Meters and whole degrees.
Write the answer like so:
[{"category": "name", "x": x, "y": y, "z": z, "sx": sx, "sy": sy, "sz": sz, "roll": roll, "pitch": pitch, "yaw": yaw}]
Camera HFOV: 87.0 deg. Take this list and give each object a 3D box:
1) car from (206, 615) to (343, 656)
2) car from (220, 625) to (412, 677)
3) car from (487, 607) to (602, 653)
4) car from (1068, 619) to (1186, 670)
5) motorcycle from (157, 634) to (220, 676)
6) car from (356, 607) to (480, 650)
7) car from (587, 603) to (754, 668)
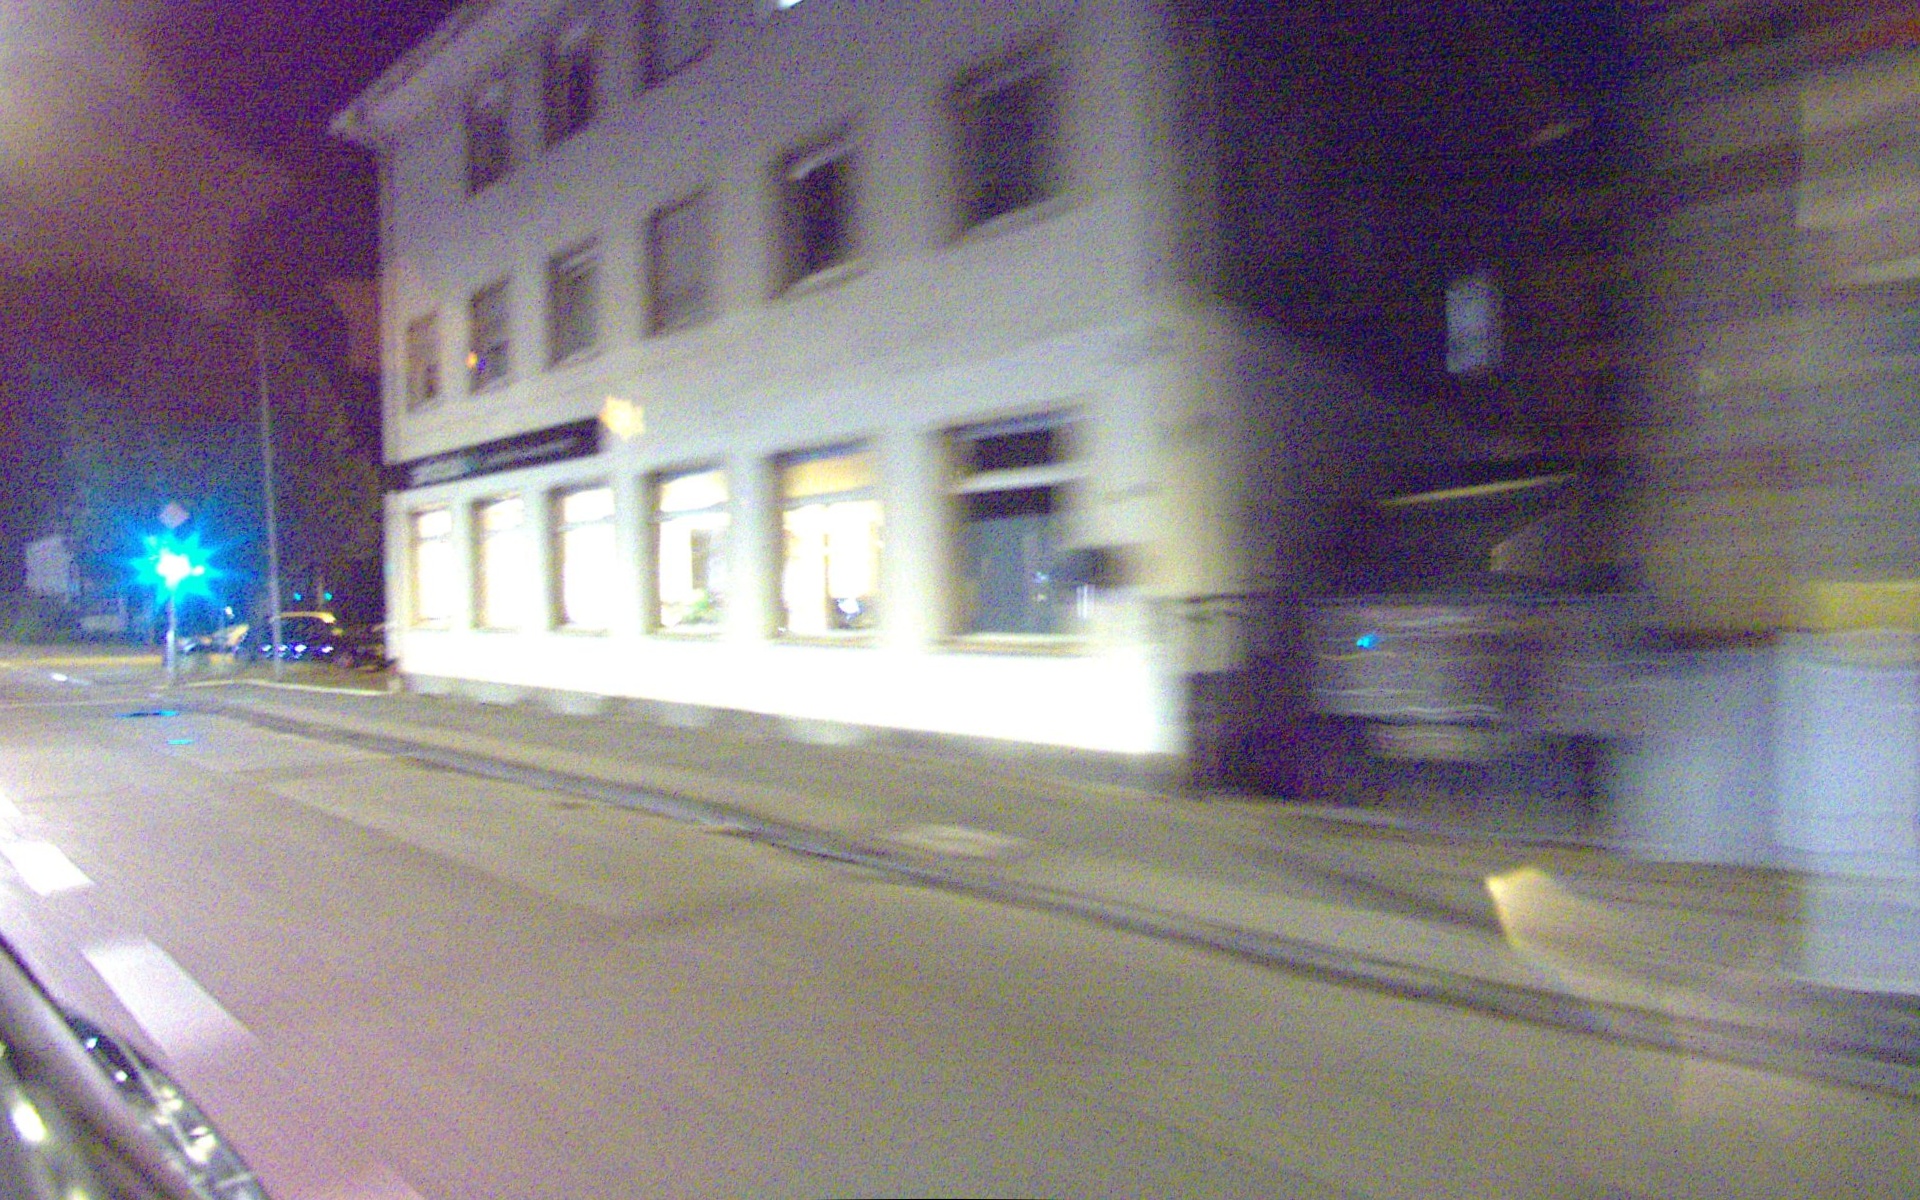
[{"category": "car", "x": -30.001, "y": 1.515, "z": 44.402, "sx": 2.001, "sy": 1.641, "sz": 4.614, "roll": 0, "pitch": 0, "yaw": 39}, {"category": "car", "x": -18.617, "y": 1.449, "z": 29.333, "sx": 4.677, "sy": 1.435, "sz": 1.887, "roll": 0, "pitch": -1, "yaw": 10}, {"category": "car", "x": -18.339, "y": 1.269, "z": 44.831, "sx": 1.957, "sy": 1.767, "sz": 4.292, "roll": 2, "pitch": 2, "yaw": 43}, {"category": "car", "x": 5.207, "y": 1.377, "z": 31.455, "sx": 3.523, "sy": 1.500, "sz": 1.599, "roll": -1, "pitch": -2, "yaw": 15}, {"category": "motorcycle", "x": -22.474, "y": 1.584, "z": 29.479, "sx": 2.020, "sy": 1.188, "sz": 0.569, "roll": -1, "pitch": -1, "yaw": 24}, {"category": "car", "x": -26.281, "y": 1.356, "z": 49.252, "sx": 2.026, "sy": 1.904, "sz": 4.938, "roll": -2, "pitch": -1, "yaw": 39}, {"category": "car", "x": -8.047, "y": 0.956, "z": 28.246, "sx": 4.070, "sy": 1.656, "sz": 1.912, "roll": -1, "pitch": 2, "yaw": 13}]
